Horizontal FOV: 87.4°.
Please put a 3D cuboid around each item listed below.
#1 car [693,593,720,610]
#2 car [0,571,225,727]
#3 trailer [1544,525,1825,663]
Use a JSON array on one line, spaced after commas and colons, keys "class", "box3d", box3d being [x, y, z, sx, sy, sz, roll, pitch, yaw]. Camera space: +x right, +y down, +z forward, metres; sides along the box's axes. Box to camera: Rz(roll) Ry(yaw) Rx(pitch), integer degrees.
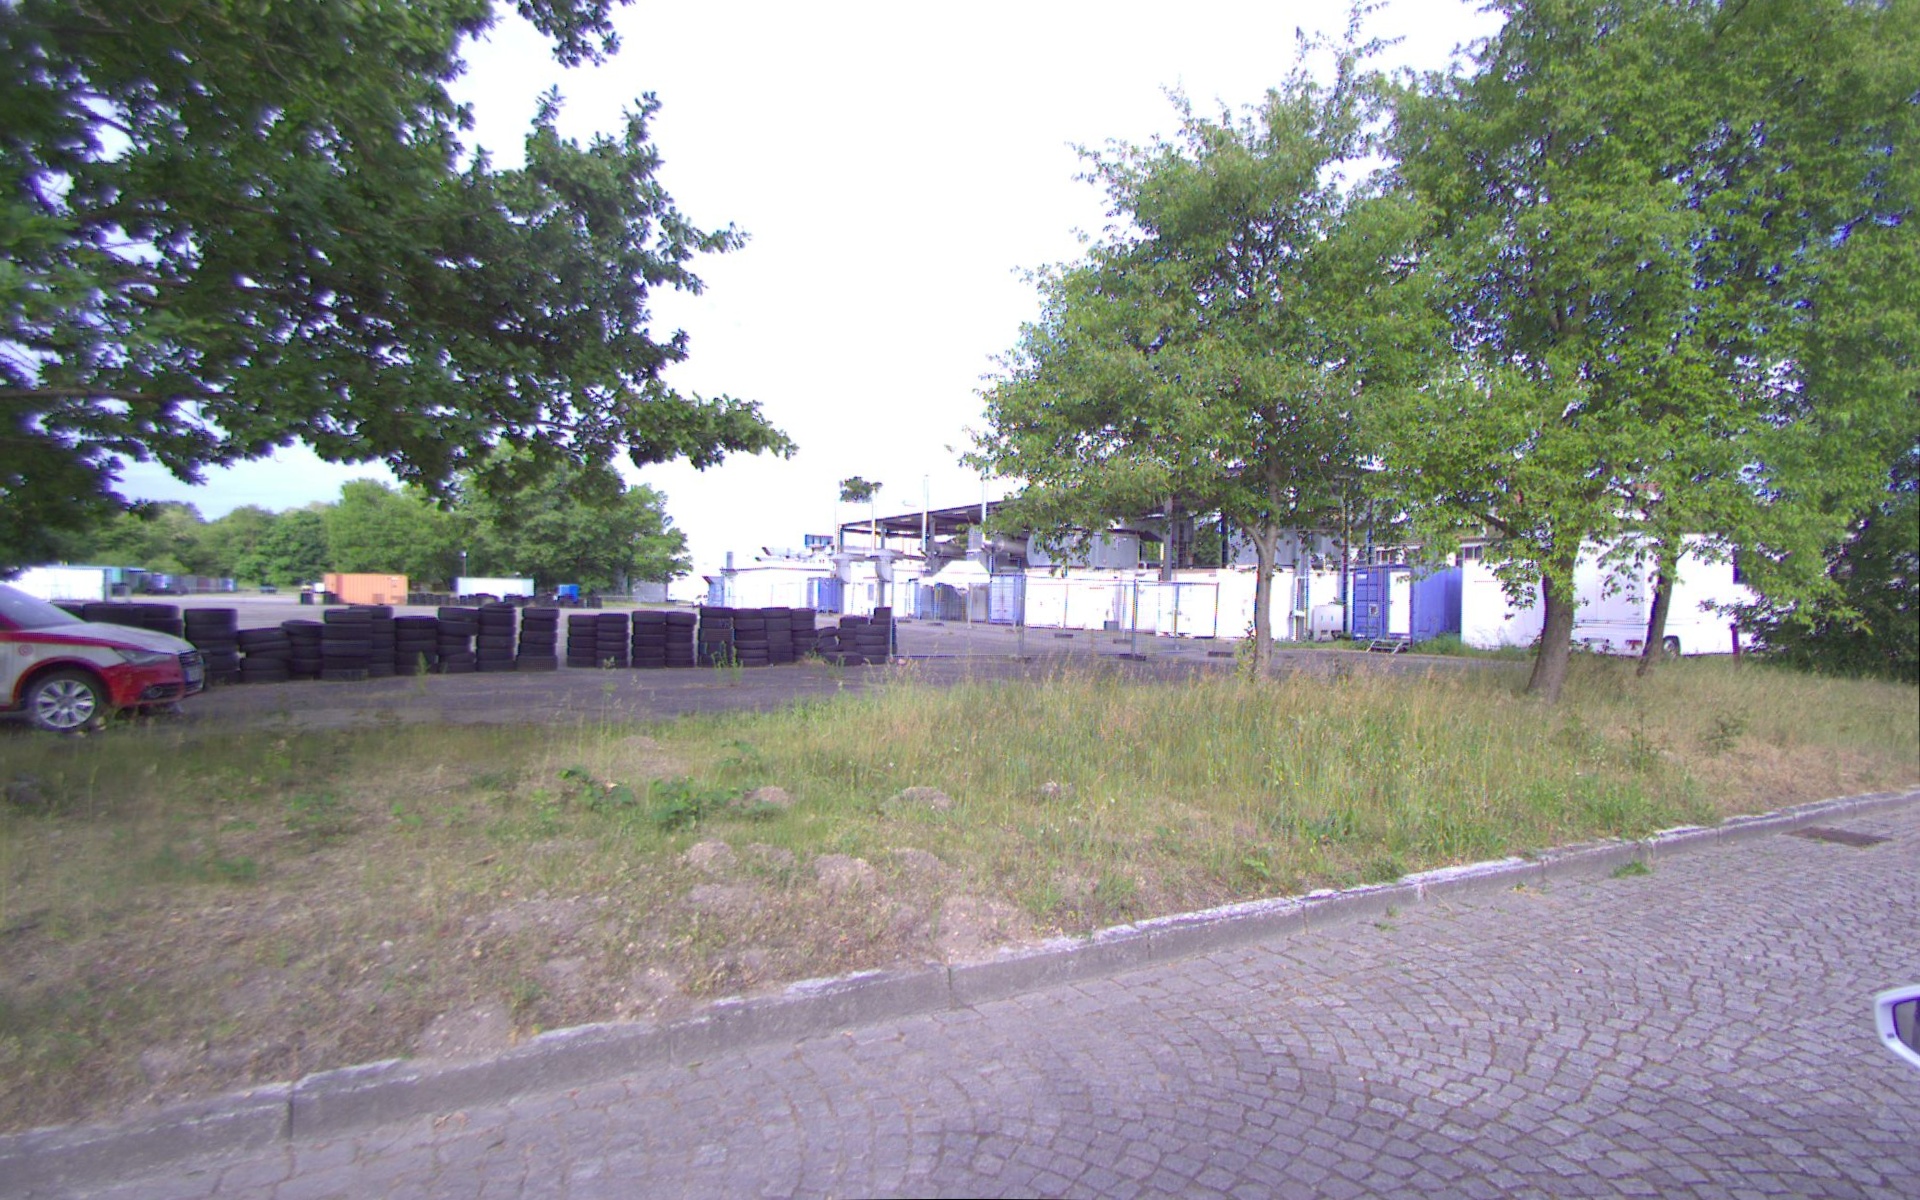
[{"class": "car", "box3d": [-26.285, 0.138, 104.164, 1.808, 1.655, 4.087, 1, 1, -28]}, {"class": "car", "box3d": [-9.836, 0.441, 9.818, 4.007, 1.453, 1.621, 1, 0, -25]}, {"class": "trailer", "box3d": [21.960, -0.082, 30.225, 10.048, 3.646, 2.615, 1, 1, -28]}]
